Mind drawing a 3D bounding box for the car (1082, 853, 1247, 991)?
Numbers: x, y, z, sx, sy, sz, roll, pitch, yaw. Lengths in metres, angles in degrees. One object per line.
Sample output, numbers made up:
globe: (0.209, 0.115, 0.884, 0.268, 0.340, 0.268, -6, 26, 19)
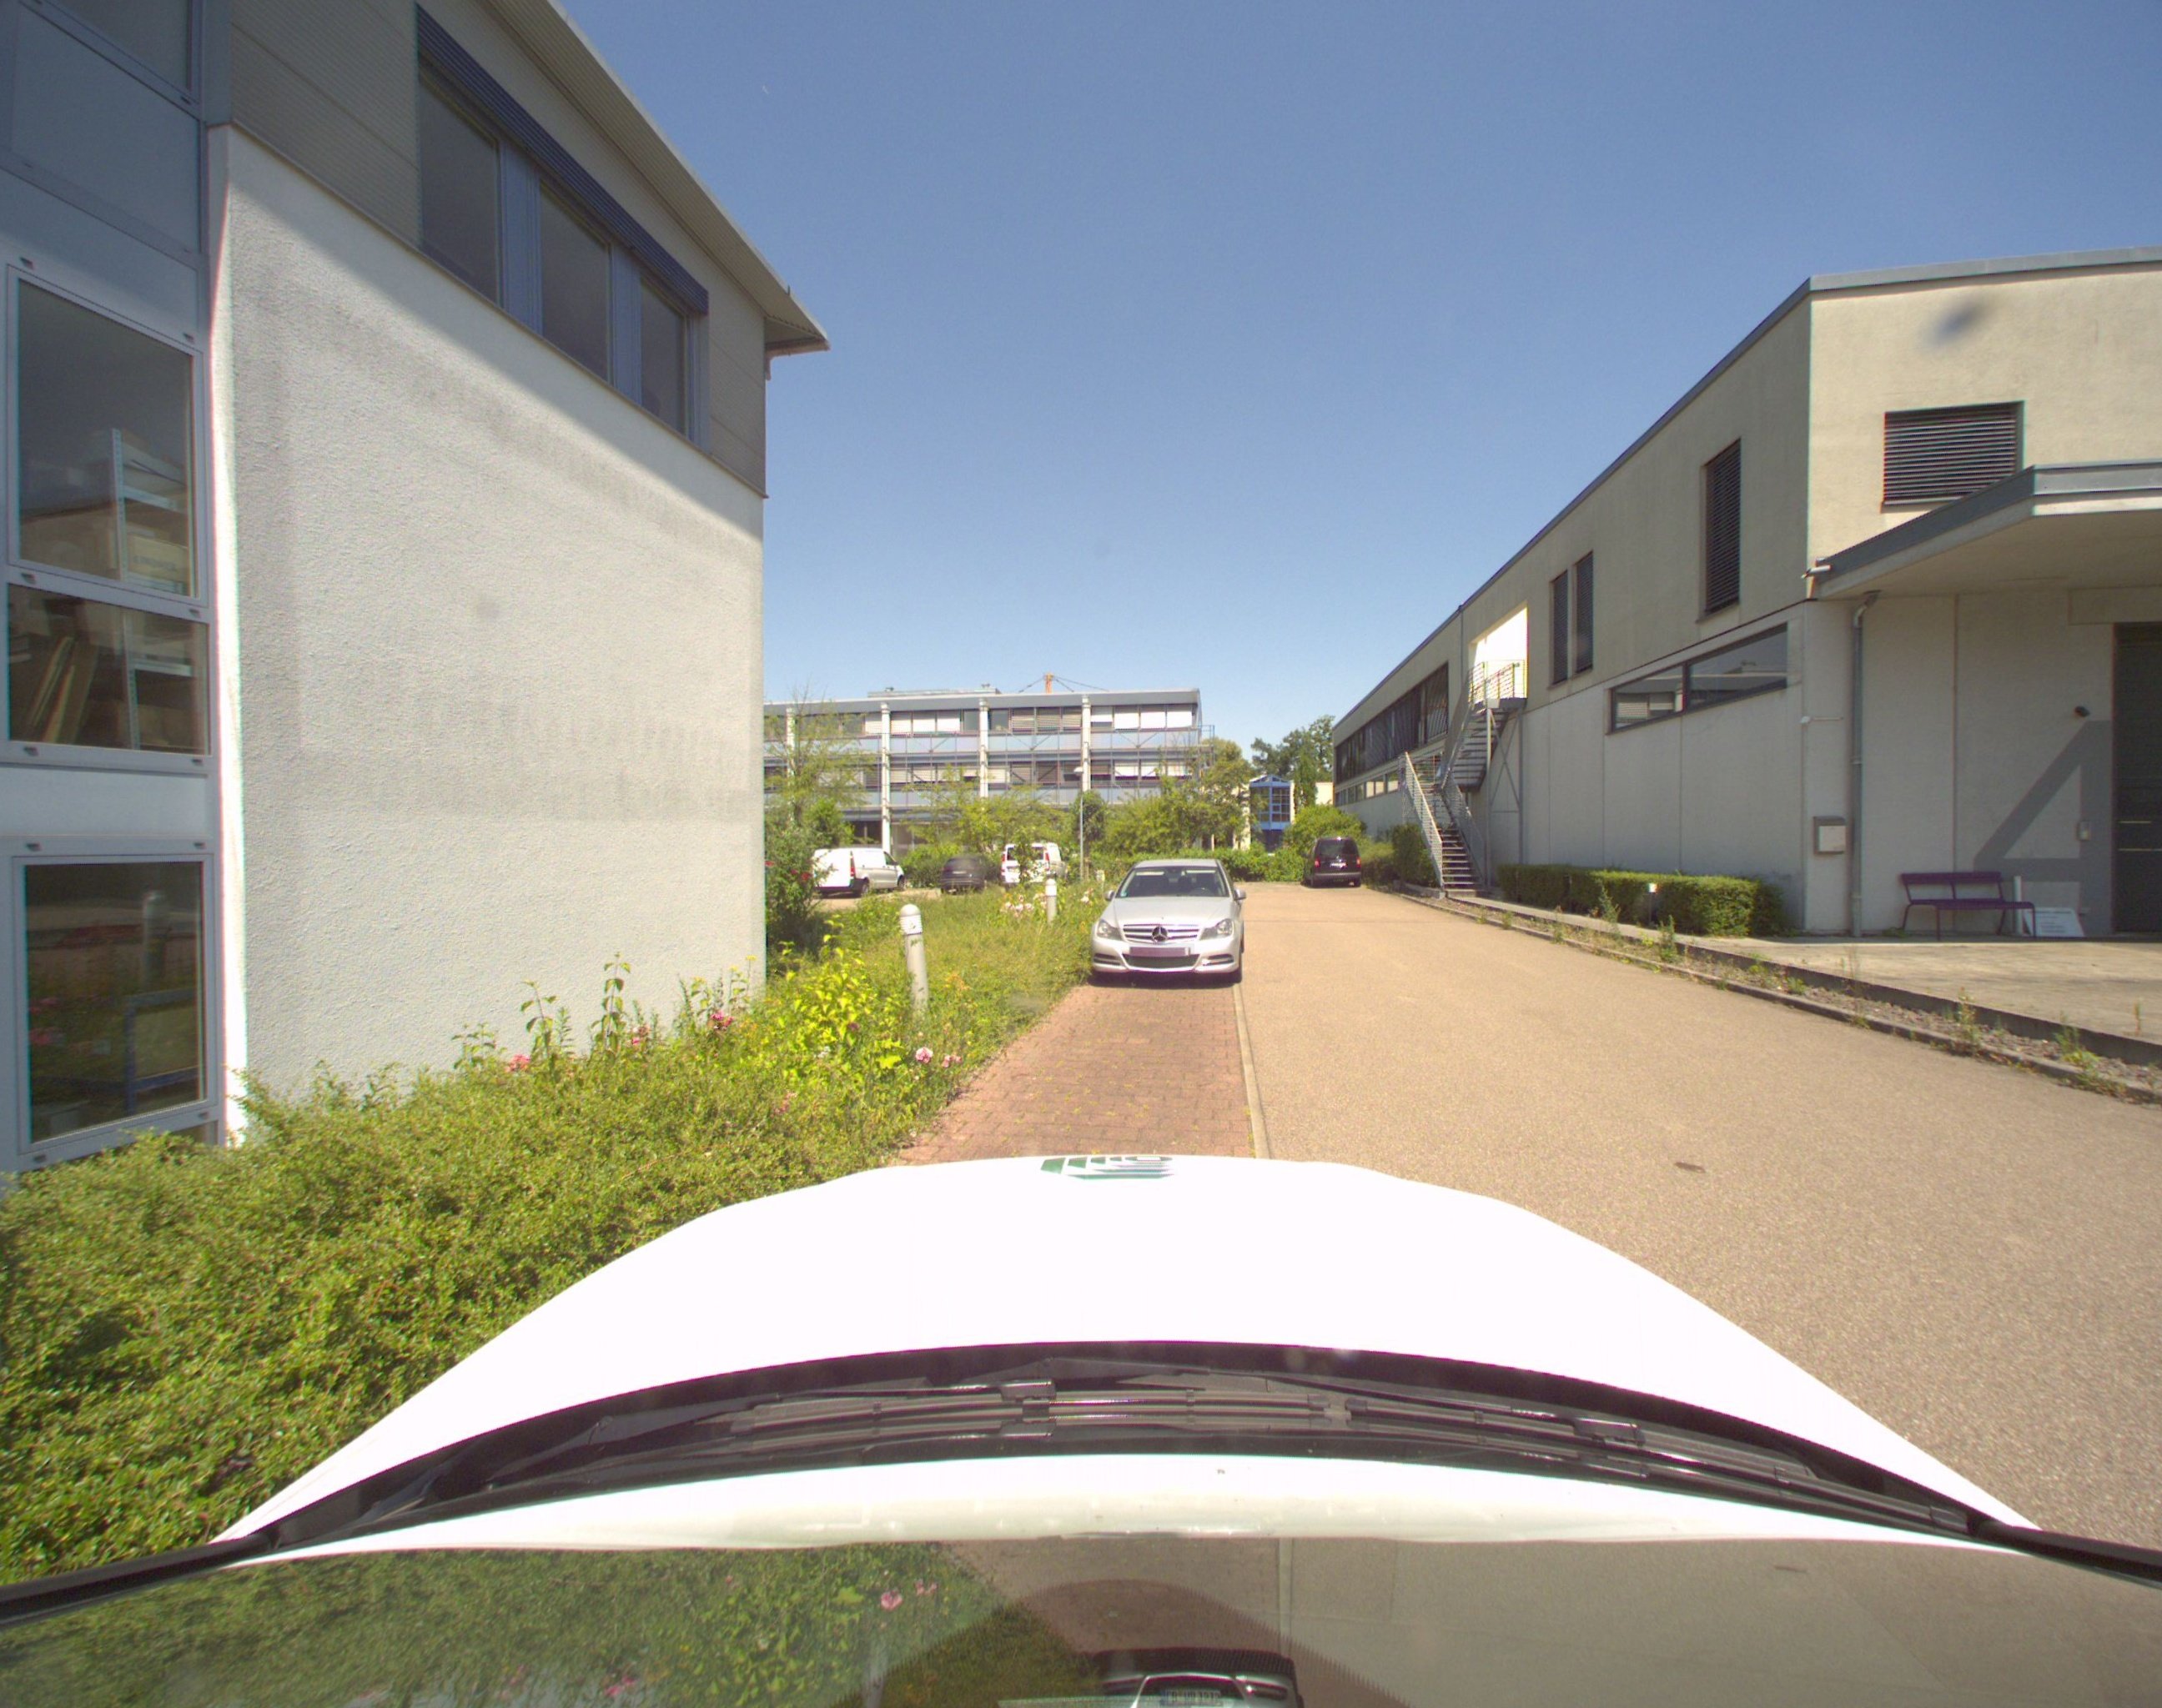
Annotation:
car: (1.308, 0.752, 10.921, 1.717, 1.457, 4.161, -2, 0, 12)

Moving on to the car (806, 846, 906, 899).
car: (-8.867, 0.671, 32.570, 1.870, 1.891, 4.818, -1, 1, 10)

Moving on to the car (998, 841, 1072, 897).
car: (-1.662, 0.497, 31.482, 1.902, 1.905, 4.819, -2, 1, 8)

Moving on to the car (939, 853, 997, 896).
car: (-4.436, 0.752, 32.492, 1.749, 1.476, 4.000, -2, 1, 0)

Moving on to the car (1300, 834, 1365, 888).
car: (9.417, 0.224, 30.748, 1.733, 1.837, 4.010, -2, 0, 9)

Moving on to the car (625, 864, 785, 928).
car: (-10.263, 1.094, 22.673, 1.846, 1.472, 4.495, -1, 1, 8)
